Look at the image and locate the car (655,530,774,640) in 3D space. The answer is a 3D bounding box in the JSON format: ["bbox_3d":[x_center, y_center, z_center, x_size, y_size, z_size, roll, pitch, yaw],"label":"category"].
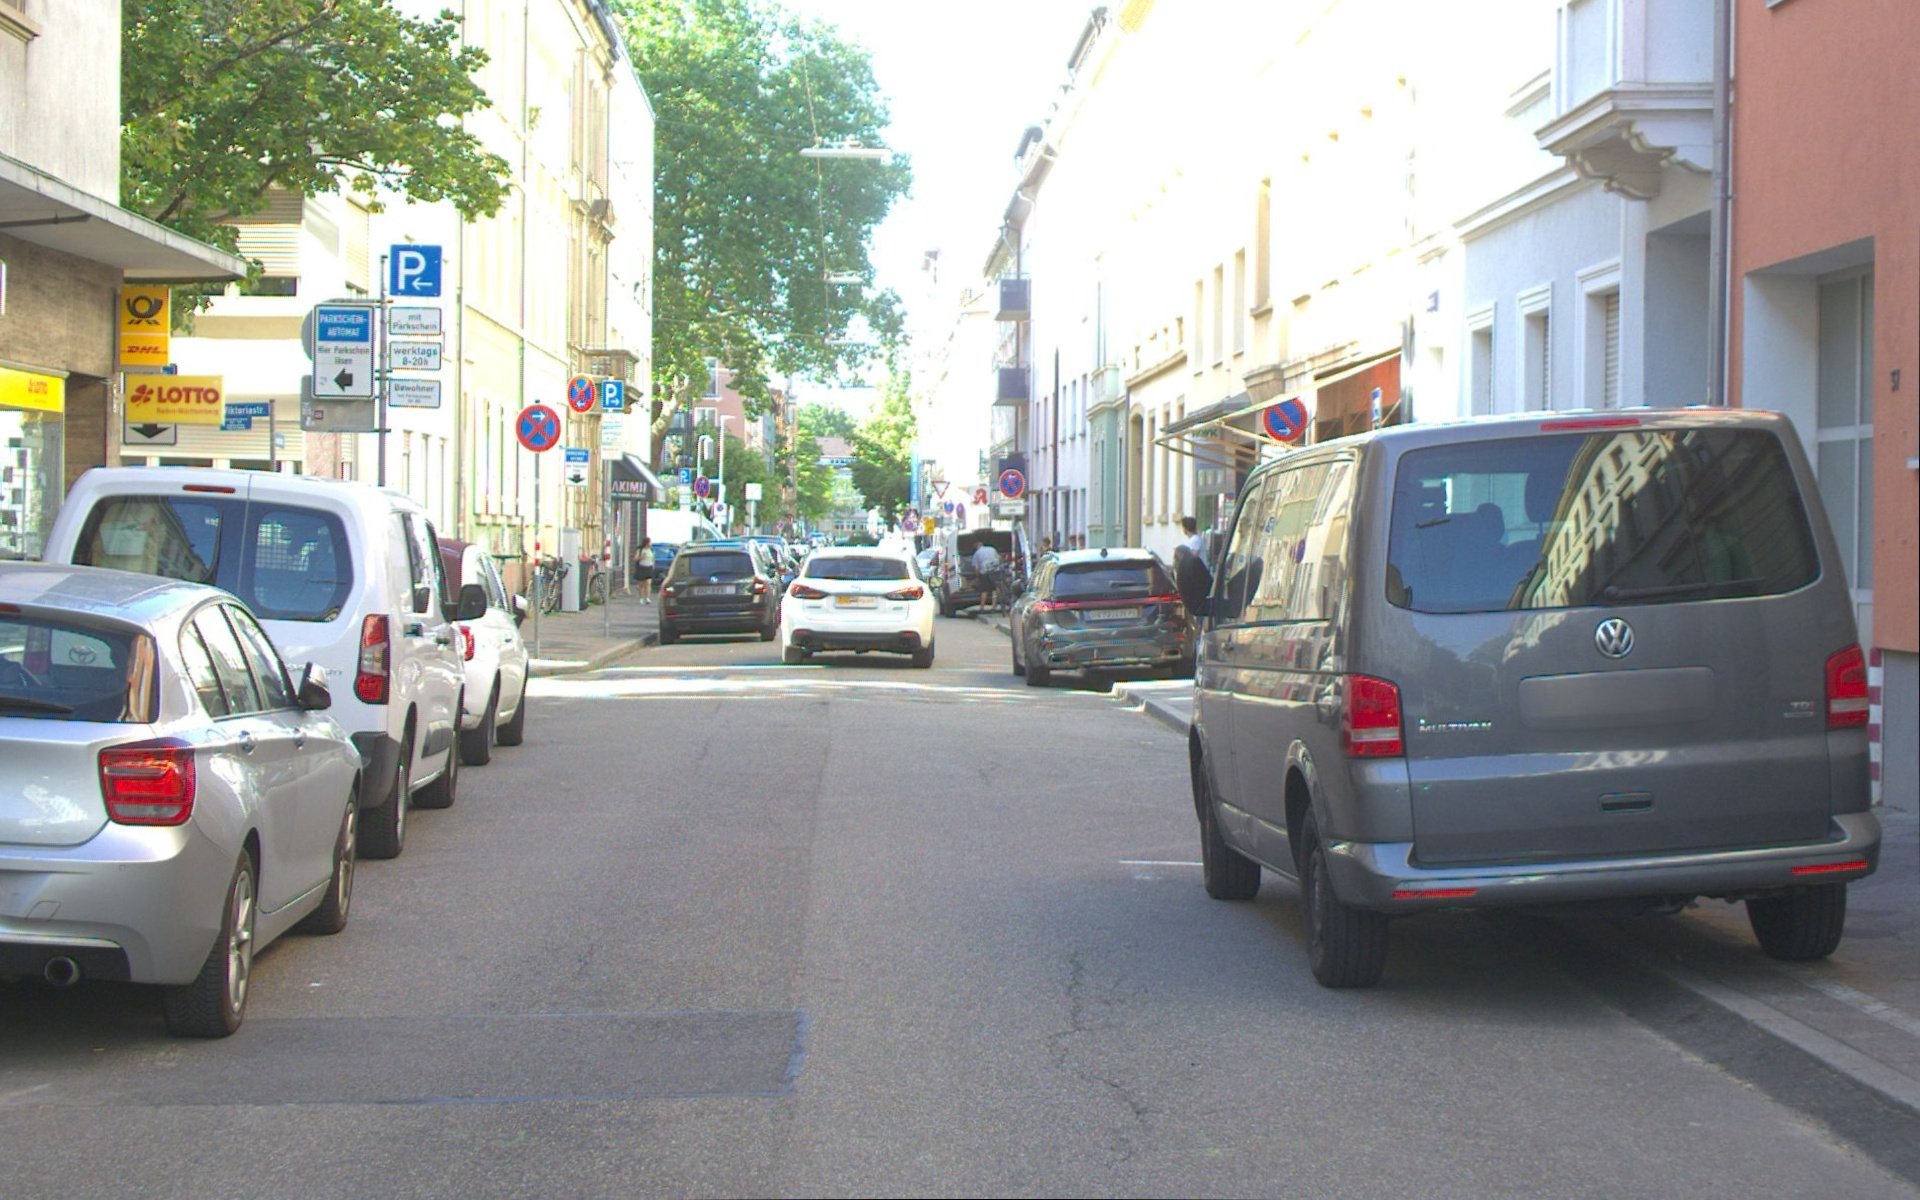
[{"bbox_3d":[-3.751,-0.259,52.994,1.624,1.591,3.580,2,1,-1],"label":"car"}]

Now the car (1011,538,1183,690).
[{"bbox_3d":[1.464,0.117,37.966,1.647,1.571,3.679,1,1,-1],"label":"car"}]

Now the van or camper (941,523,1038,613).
[{"bbox_3d":[0.618,-0.685,75.620,1.993,1.919,4.000,0,0,-1],"label":"van or camper"}]

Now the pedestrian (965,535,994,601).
[{"bbox_3d":[0.435,-0.721,76.997,0.627,1.459,0.575,0,0,-1],"label":"pedestrian"}]

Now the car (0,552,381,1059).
[{"bbox_3d":[-3.115,0.570,11.771,1.758,1.411,4.001,-1,1,-3],"label":"car"}]

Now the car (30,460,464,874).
[{"bbox_3d":[-3.529,0.272,17.636,1.647,1.861,4.001,1,1,-4],"label":"car"}]

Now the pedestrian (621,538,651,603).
[{"bbox_3d":[-7.363,-0.673,78.109,0.627,1.459,0.575,0,0,-1],"label":"pedestrian"}]

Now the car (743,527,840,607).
[{"bbox_3d":[-3.471,-0.671,70.211,1.866,1.556,4.521,1,0,-4],"label":"car"}]

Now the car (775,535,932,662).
[{"bbox_3d":[-1.282,-0.052,42.621,1.834,1.481,4.057,1,1,-1],"label":"car"}]

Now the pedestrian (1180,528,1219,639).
[{"bbox_3d":[3.736,-0.260,53.570,0.528,1.721,0.489,0,0,14],"label":"pedestrian"}]

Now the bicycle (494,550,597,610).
[{"bbox_3d":[-7.990,-0.376,66.283,1.949,1.111,0.512,1,1,-36],"label":"bicycle"}]

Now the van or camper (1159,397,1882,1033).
[{"bbox_3d":[1.952,0.337,13.396,1.775,2.029,4.571,-1,1,-4],"label":"van or camper"}]

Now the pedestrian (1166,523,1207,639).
[{"bbox_3d":[3.385,-0.287,51.430,0.528,1.721,0.489,0,0,14],"label":"pedestrian"}]

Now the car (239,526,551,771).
[{"bbox_3d":[-3.905,0.282,24.262,1.647,1.571,3.679,1,1,-1],"label":"car"}]
